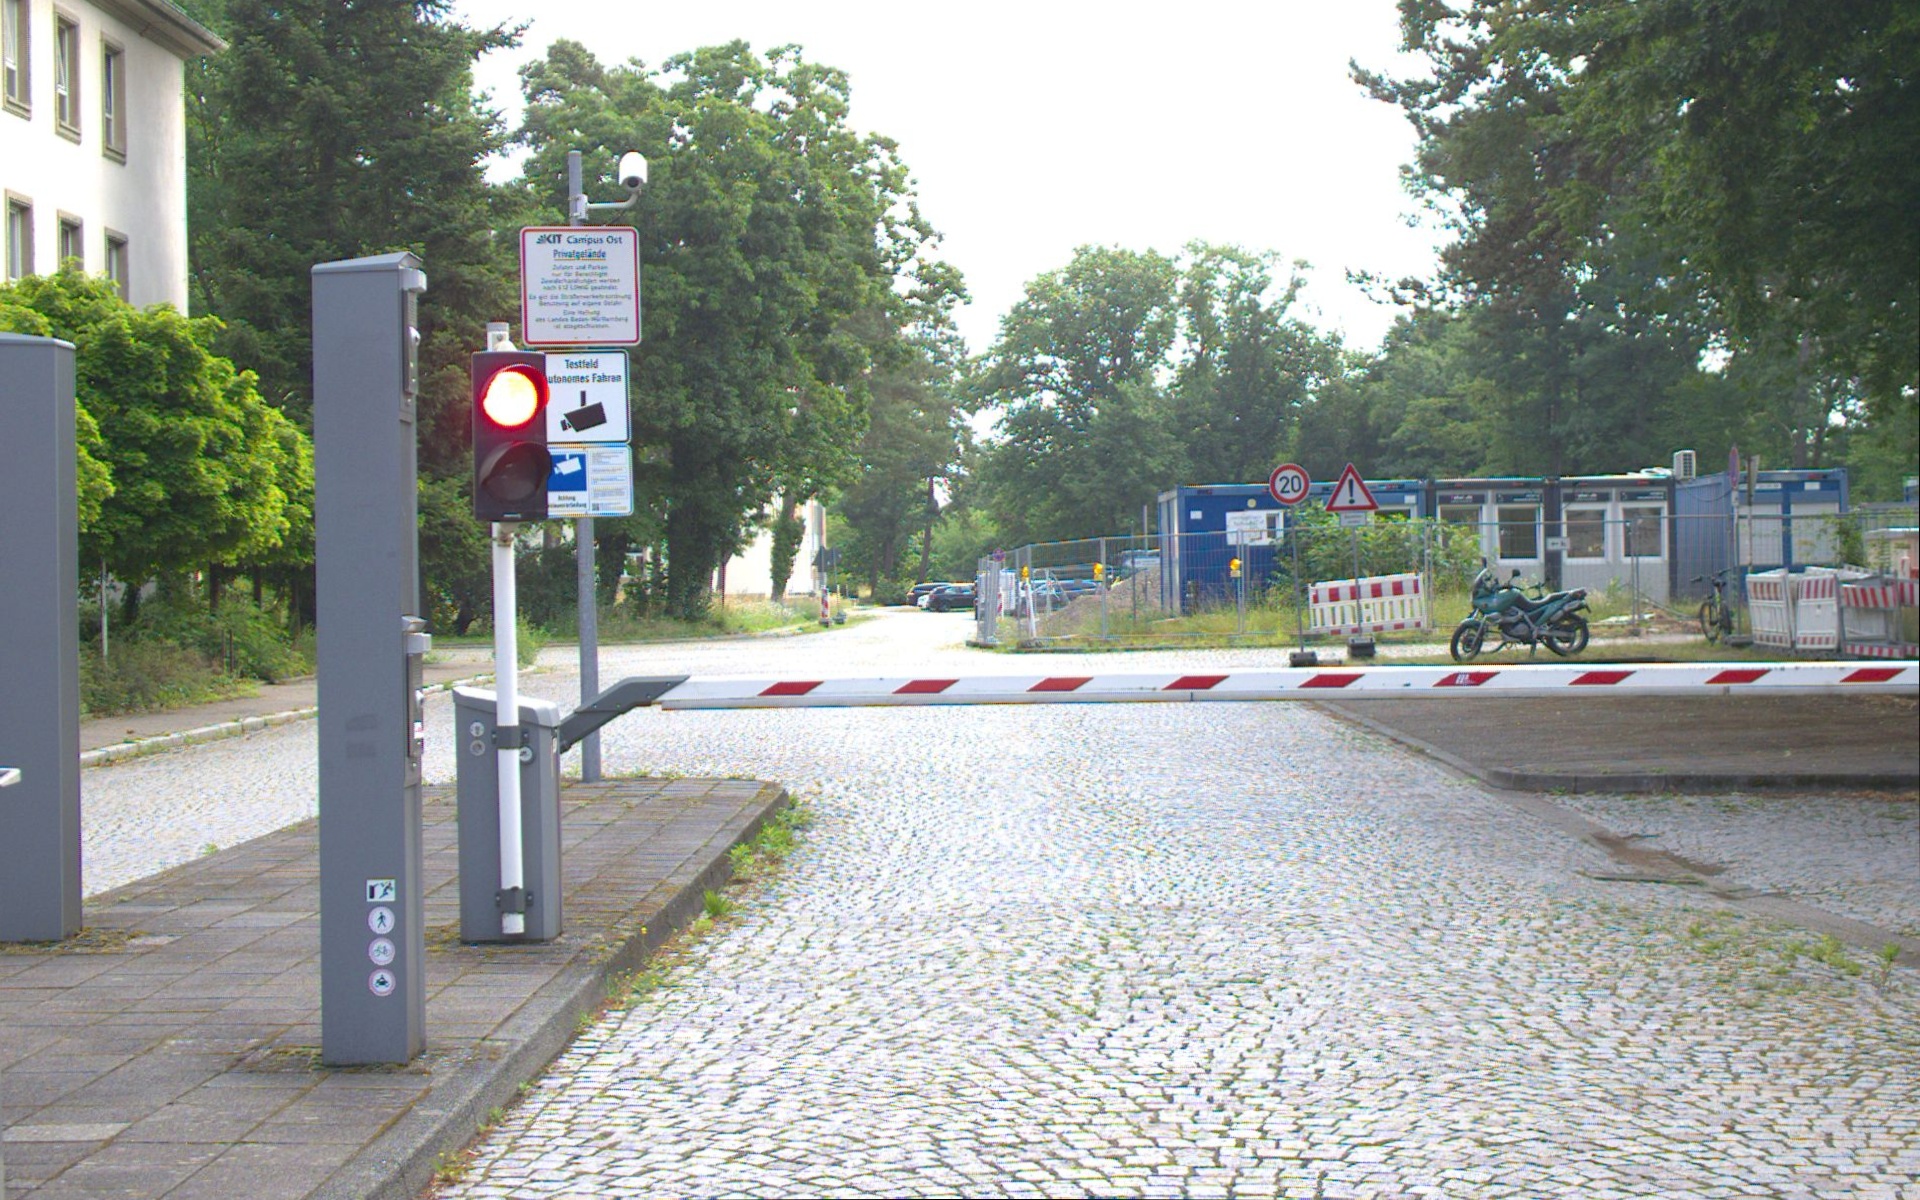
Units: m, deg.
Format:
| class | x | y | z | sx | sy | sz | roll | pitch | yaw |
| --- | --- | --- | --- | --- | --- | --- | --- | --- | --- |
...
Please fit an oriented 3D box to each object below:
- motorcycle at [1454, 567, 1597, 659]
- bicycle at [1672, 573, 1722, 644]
| class | x | y | z | sx | sy | sz | roll | pitch | yaw |
| --- | --- | --- | --- | --- | --- | --- | --- | --- | --- |
| motorcycle | 8.185 | 0.189 | 49.789 | 1.956 | 1.191 | 0.461 | -3 | 5 | -1 |
| bicycle | 10.992 | 0.136 | 51.302 | 0.332 | 1.004 | 1.726 | -2 | -2 | 0 |
